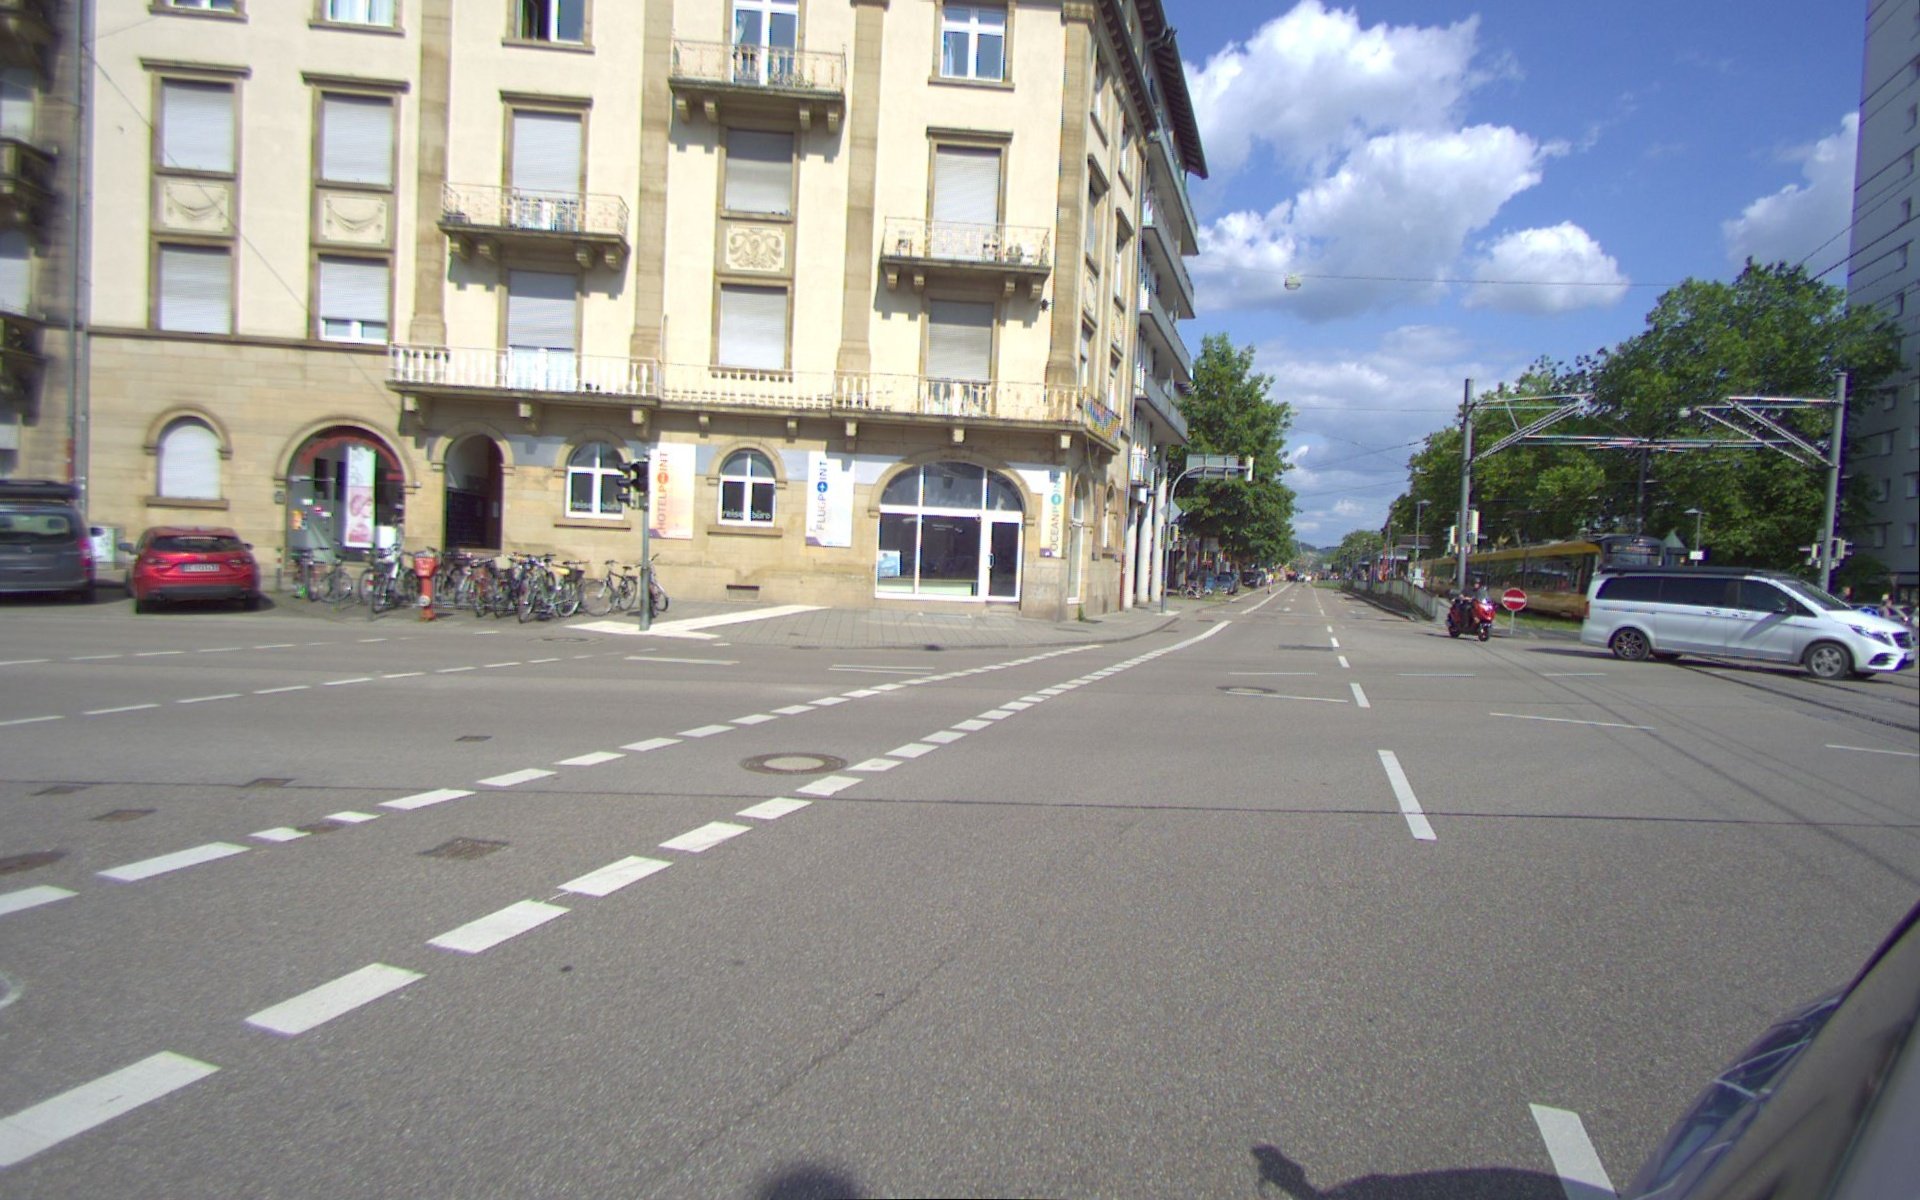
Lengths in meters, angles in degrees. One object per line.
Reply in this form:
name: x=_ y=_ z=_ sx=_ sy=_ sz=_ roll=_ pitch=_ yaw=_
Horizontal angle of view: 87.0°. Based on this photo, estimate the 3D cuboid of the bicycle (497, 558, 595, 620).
bicycle: x=-7.749 y=-0.243 z=19.038 sx=0.595 sy=1.030 sz=1.865 roll=4 pitch=5 yaw=20

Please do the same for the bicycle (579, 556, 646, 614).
bicycle: x=-6.997 y=-0.327 z=20.477 sx=0.599 sy=1.030 sz=1.877 roll=3 pitch=5 yaw=3

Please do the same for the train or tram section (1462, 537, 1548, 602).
train or tram section: x=33.913 y=-1.936 z=63.462 sx=2.780 sy=3.604 sz=12.080 roll=3 pitch=3 yaw=20

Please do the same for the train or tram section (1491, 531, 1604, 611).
train or tram section: x=30.124 y=-1.523 z=52.478 sx=2.780 sy=3.604 sz=11.114 roll=3 pitch=3 yaw=19

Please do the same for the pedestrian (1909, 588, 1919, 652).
pedestrian: x=26.630 y=0.558 z=27.697 sx=0.664 sy=1.723 sz=0.643 roll=3 pitch=2 yaw=22

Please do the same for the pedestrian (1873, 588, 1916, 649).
pedestrian: x=27.594 y=0.535 z=29.900 sx=0.664 sy=1.723 sz=0.643 roll=3 pitch=2 yaw=22

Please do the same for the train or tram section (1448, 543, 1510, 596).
train or tram section: x=37.455 y=-2.234 z=73.308 sx=2.742 sy=3.525 sz=8.850 roll=3 pitch=3 yaw=20

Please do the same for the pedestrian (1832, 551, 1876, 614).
pedestrian: x=25.059 y=-0.493 z=28.374 sx=0.664 sy=1.723 sz=0.643 roll=3 pitch=2 yaw=22

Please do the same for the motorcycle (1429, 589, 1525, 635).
motorcycle: x=13.454 y=0.290 z=26.430 sx=0.684 sy=0.989 sz=2.512 roll=2 pitch=3 yaw=-15

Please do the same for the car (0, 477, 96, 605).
car: x=-17.163 y=-1.159 z=18.574 sx=1.934 sy=2.106 sz=3.997 roll=-1 pitch=6 yaw=-41

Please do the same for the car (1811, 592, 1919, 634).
car: x=38.774 y=0.522 z=42.743 sx=1.822 sy=1.508 sz=3.858 roll=2 pitch=3 yaw=-25

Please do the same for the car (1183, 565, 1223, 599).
car: x=14.455 y=-1.080 z=60.098 sx=1.830 sy=1.810 sz=3.977 roll=6 pitch=3 yaw=18

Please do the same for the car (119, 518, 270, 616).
car: x=-14.102 y=-0.669 z=18.565 sx=1.934 sy=1.458 sz=3.997 roll=-1 pitch=6 yaw=-41

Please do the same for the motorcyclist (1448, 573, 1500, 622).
motorcyclist: x=13.451 y=-0.075 z=26.499 sx=0.684 sy=1.232 sz=0.980 roll=2 pitch=2 yaw=-15

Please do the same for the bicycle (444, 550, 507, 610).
bicycle: x=-9.708 y=-0.426 z=20.344 sx=0.529 sy=1.030 sz=1.933 roll=2 pitch=5 yaw=-6

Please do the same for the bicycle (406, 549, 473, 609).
bicycle: x=-10.381 y=-0.442 z=20.256 sx=0.529 sy=1.030 sz=1.933 roll=2 pitch=5 yaw=-6

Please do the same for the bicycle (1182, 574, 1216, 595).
bicycle: x=12.506 y=-0.831 z=53.004 sx=1.672 sy=0.998 sz=0.495 roll=3 pitch=2 yaw=18

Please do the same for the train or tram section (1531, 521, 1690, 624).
train or tram section: x=26.467 y=-1.185 z=41.901 sx=2.770 sy=3.604 sz=11.308 roll=3 pitch=3 yaw=19

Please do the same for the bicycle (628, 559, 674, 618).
bicycle: x=-6.225 y=-0.261 z=20.474 sx=0.597 sy=1.030 sz=1.882 roll=2 pitch=5 yaw=-9

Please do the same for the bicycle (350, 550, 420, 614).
bicycle: x=-10.774 y=-0.371 z=19.022 sx=0.529 sy=1.030 sz=1.934 roll=2 pitch=5 yaw=-10

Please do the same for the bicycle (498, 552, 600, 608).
bicycle: x=-8.511 y=-0.414 z=20.975 sx=1.891 sy=1.030 sz=0.541 roll=3 pitch=5 yaw=-1

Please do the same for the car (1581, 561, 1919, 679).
car: x=15.262 y=0.267 z=19.556 sx=1.961 sy=1.915 sz=5.175 roll=1 pitch=2 yaw=-33

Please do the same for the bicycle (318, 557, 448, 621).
bicycle: x=-9.995 y=-0.183 z=17.594 sx=1.888 sy=1.030 sz=0.542 roll=1 pitch=5 yaw=-22

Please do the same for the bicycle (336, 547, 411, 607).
bicycle: x=-11.468 y=-0.479 z=19.851 sx=0.529 sy=1.030 sz=1.933 roll=2 pitch=5 yaw=-6

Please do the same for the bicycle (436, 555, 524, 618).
bicycle: x=-9.054 y=-0.284 z=19.155 sx=0.531 sy=1.030 sz=1.926 roll=3 pitch=5 yaw=8

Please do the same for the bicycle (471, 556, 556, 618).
bicycle: x=-8.480 y=-0.274 z=19.300 sx=0.531 sy=1.030 sz=1.926 roll=3 pitch=5 yaw=8
